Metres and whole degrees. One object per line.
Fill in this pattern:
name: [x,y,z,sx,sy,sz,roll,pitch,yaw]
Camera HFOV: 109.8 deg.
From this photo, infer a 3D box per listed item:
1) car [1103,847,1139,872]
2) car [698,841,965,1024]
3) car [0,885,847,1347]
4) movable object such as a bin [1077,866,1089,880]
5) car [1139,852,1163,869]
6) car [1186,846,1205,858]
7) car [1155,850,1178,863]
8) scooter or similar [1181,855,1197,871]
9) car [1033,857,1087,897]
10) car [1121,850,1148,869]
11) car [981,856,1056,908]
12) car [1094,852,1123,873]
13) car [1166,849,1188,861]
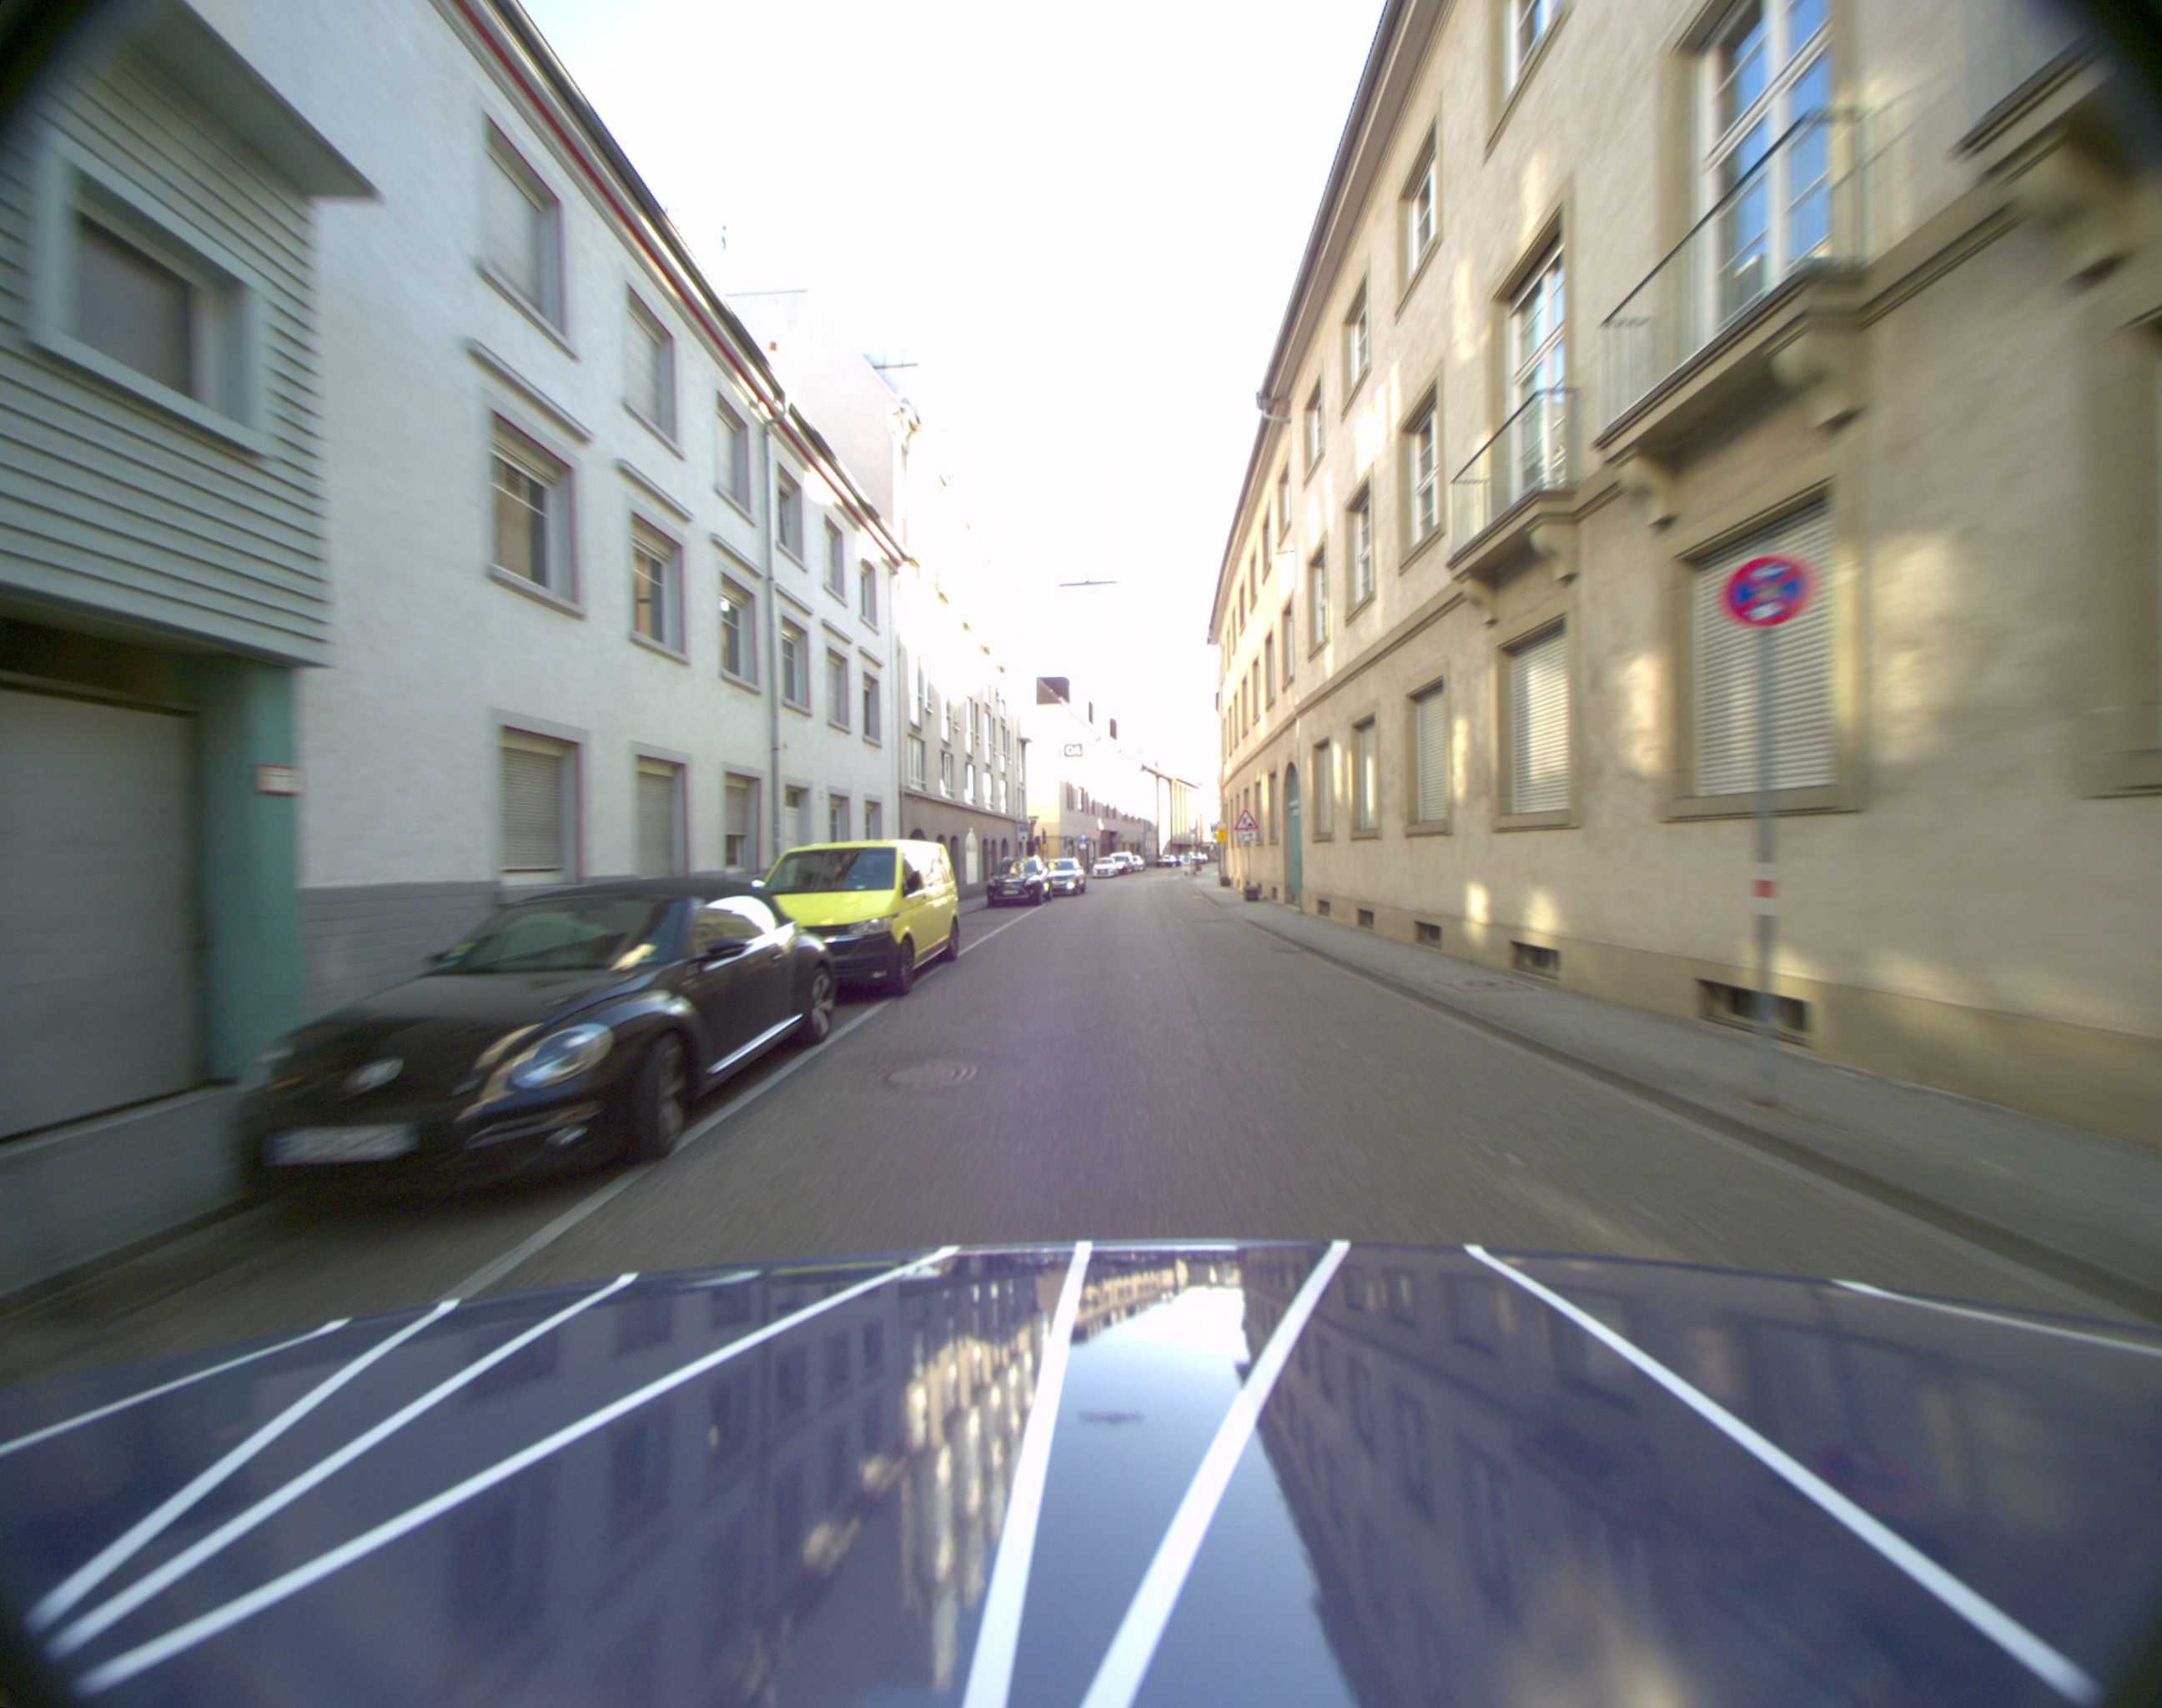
car: [3.362,0.453,63.353,1.946,1.850,5.200,-5,-1,14]
car: [-2.977,0.826,10.338,1.888,1.871,4.846,-1,0,1]
car: [-3.131,1.041,4.953,1.888,1.480,4.368,-1,0,-1]
movable object such as a bin: [0.158,1.491,59.126,0.687,1.079,0.930,-1,0,10]
car: [7.329,0.639,78.988,1.774,1.574,3.861,-5,-1,15]
car: [16.330,-0.273,108.220,1.963,1.637,4.201,-2,0,17]
car: [10.061,0.245,89.212,1.963,1.400,4.201,-2,0,17]
scooter or similar: [8.233,0.704,57.735,1.303,1.217,0.467,1,0,-43]
car: [-0.822,0.934,32.397,1.829,1.550,3.988,-1,0,5]
car: [4.910,0.459,69.400,1.774,1.574,3.860,-5,-1,14]
car: [-2.091,0.912,26.841,1.829,1.645,4.495,-1,0,6]
car: [2.111,0.633,57.251,1.734,1.539,4.003,-1,0,8]
car: [12.103,0.123,95.510,1.963,1.400,4.201,-2,0,17]
